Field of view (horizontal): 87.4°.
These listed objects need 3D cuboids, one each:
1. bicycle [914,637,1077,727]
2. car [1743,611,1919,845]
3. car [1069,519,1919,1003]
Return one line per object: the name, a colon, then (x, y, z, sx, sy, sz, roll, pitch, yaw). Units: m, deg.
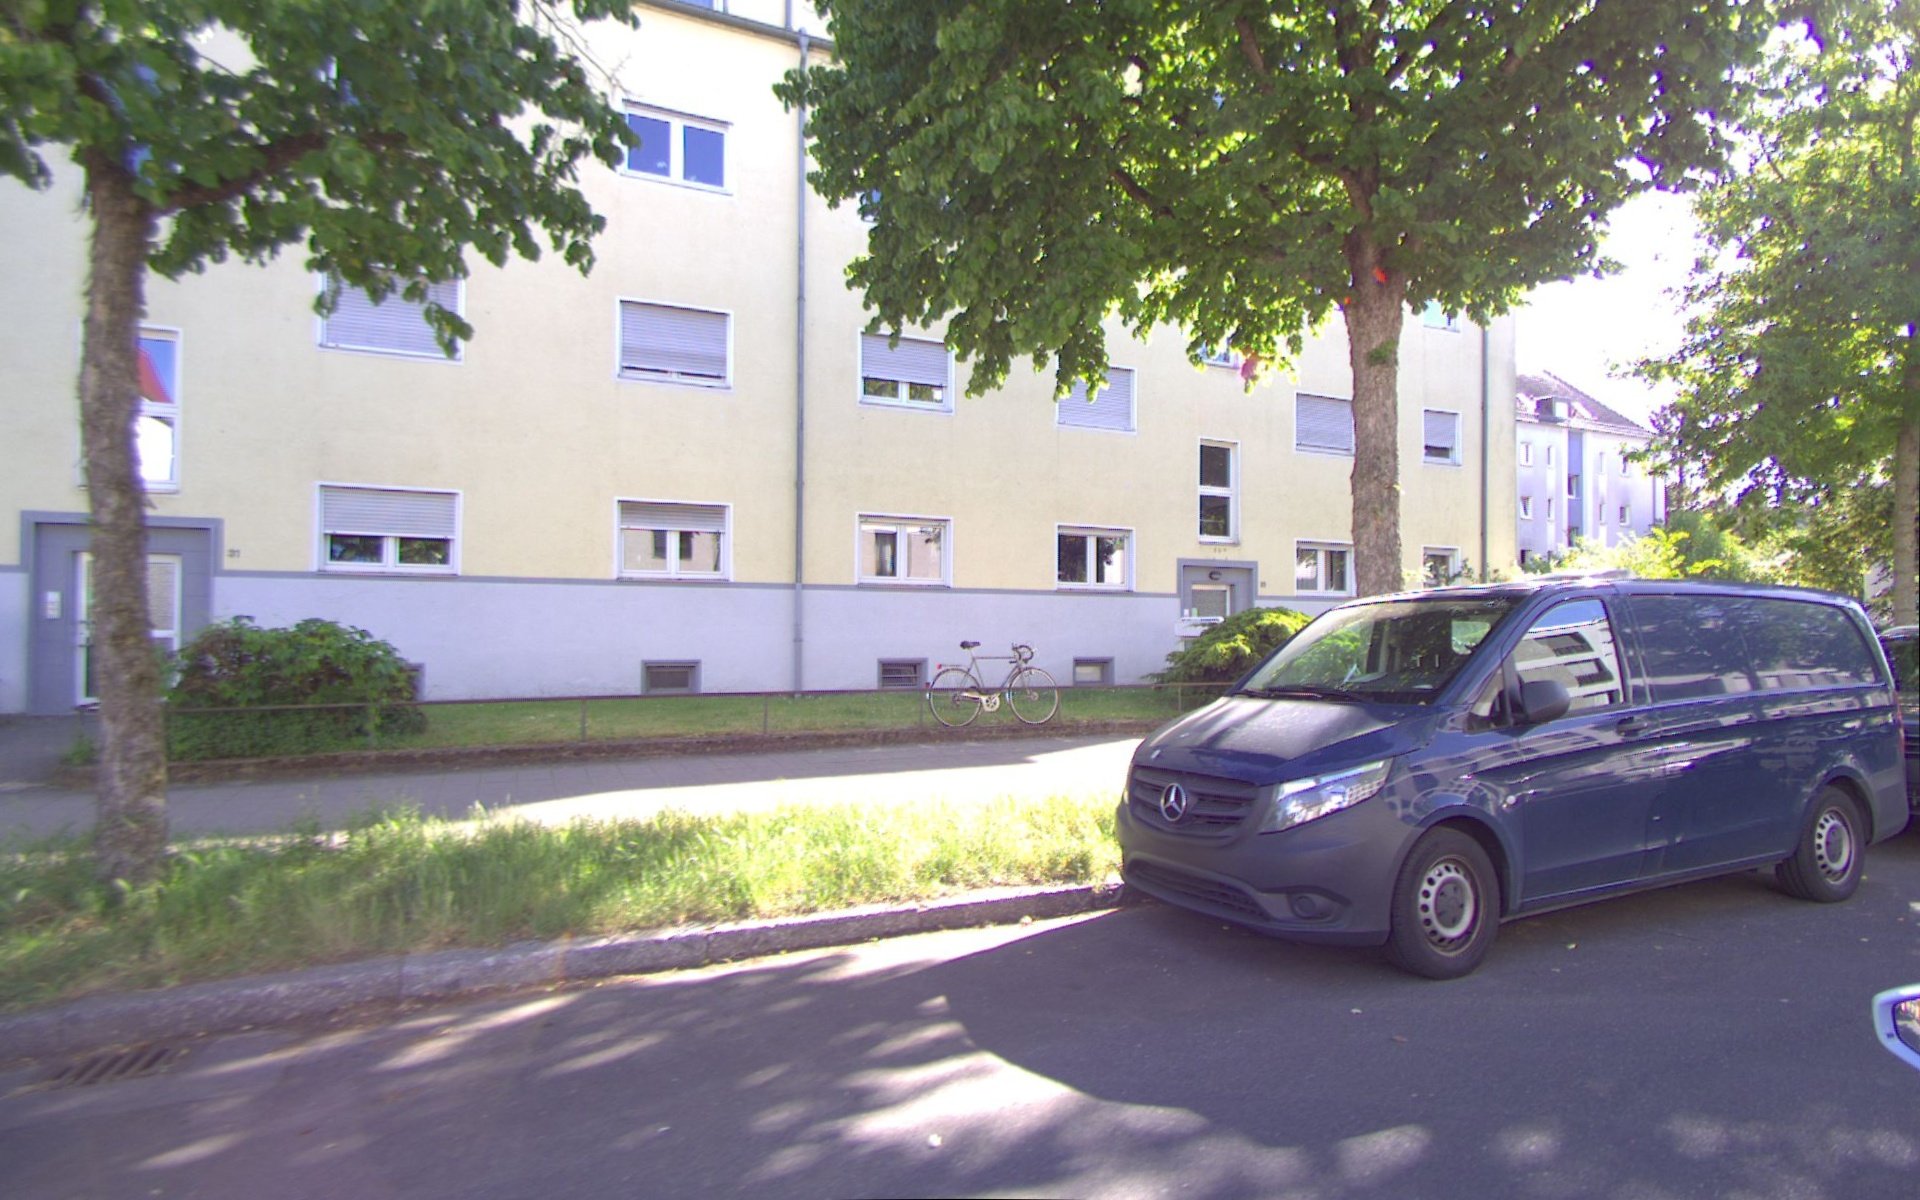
bicycle: (0.431, 0.956, 12.075, 1.901, 1.005, 0.593, 1, -2, -25)
car: (8.451, 0.938, 8.214, 4.175, 1.632, 1.607, 1, -3, -27)
car: (3.299, 0.712, 5.904, 5.070, 1.929, 1.822, 1, -3, -24)
